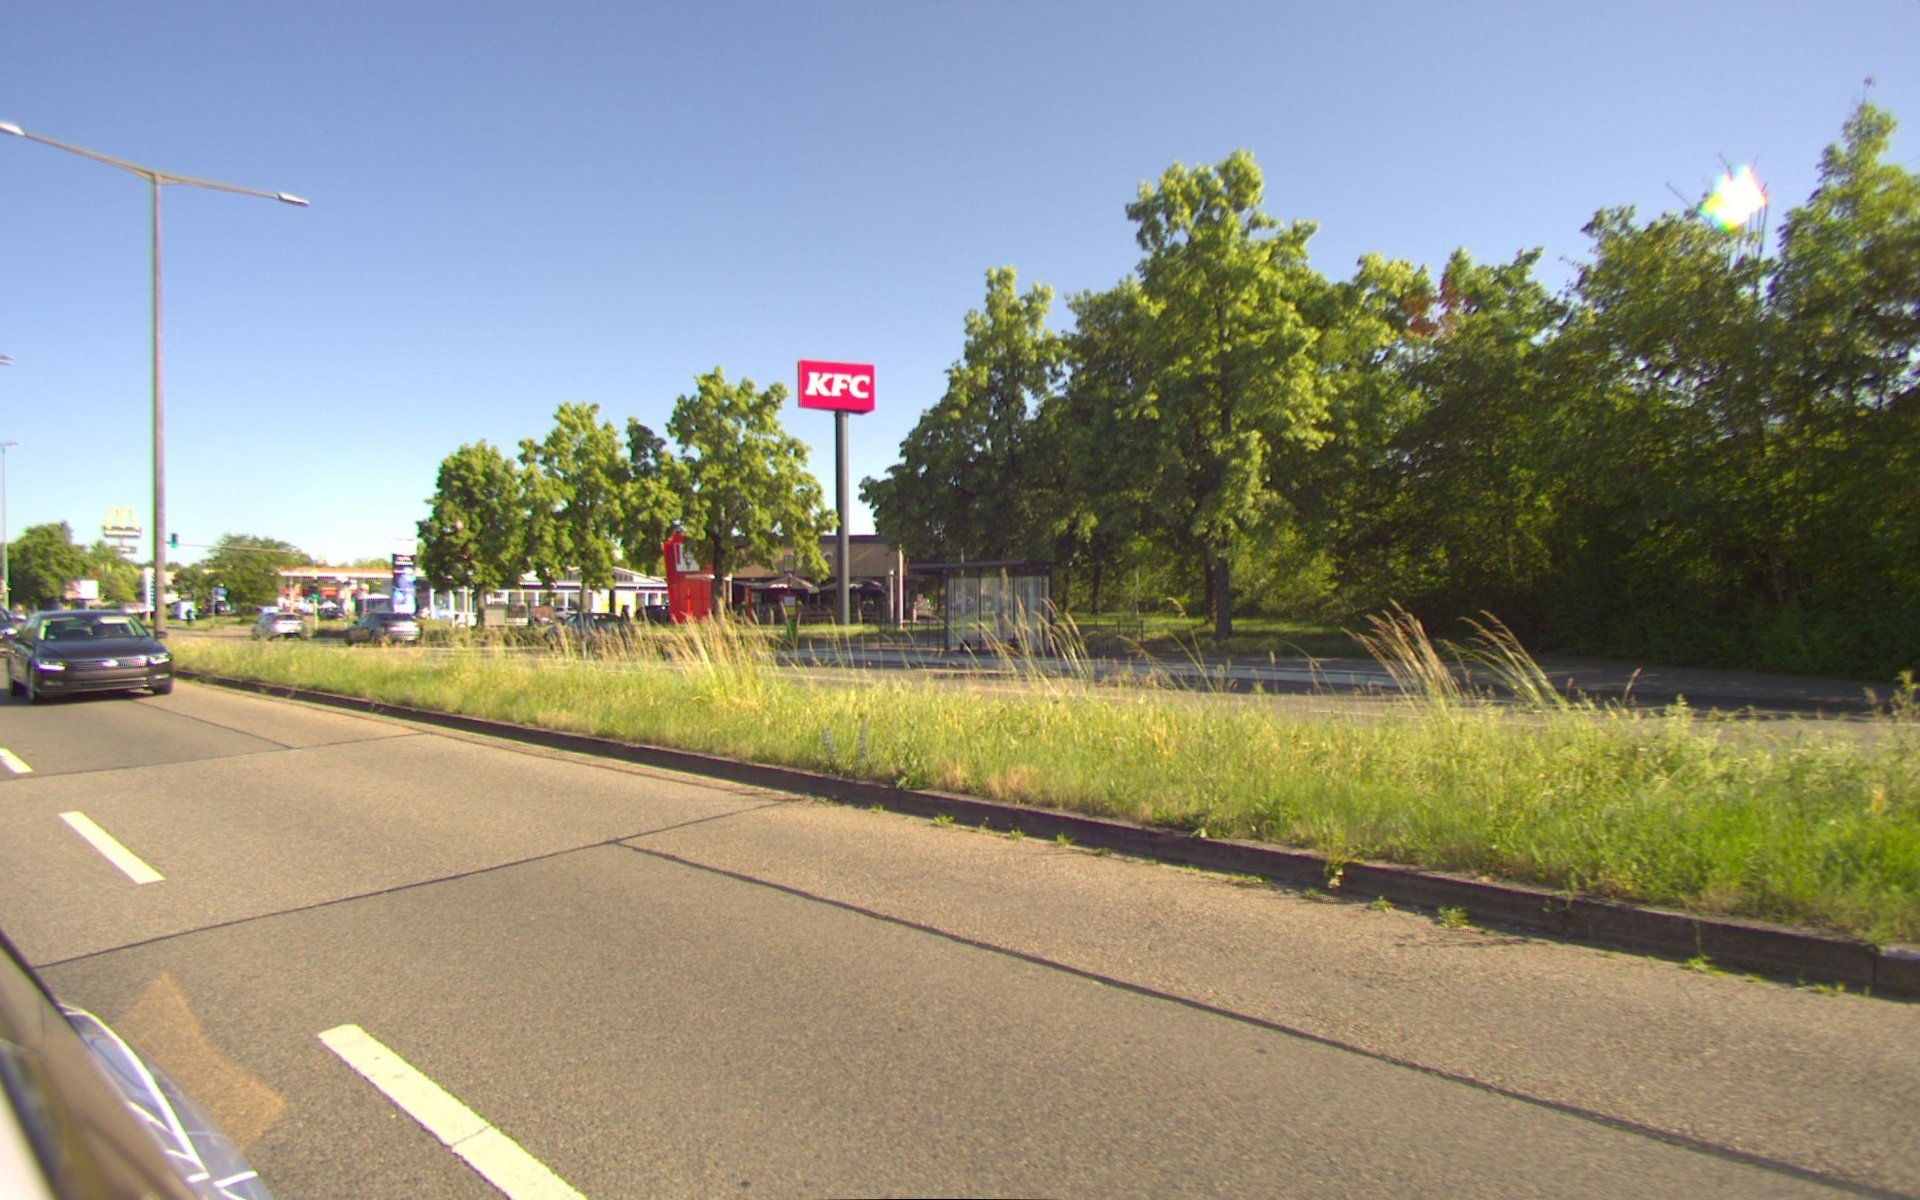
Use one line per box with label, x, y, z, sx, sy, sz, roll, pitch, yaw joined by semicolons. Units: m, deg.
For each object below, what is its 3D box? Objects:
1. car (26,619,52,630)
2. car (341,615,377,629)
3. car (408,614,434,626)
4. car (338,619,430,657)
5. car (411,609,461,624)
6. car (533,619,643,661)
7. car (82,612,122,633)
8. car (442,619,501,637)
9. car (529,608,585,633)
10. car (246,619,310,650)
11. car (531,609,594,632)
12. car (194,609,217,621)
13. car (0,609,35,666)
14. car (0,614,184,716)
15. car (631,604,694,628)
car;-117.332;3.136;128.885;4.621;1.387;1.973;-1;-1;41
car;-60.919;2.210;102.606;4.117;1.335;1.876;-1;-2;40
car;-74.373;2.772;139.588;4.117;1.603;1.876;-1;-1;41
car;-23.235;1.516;40.741;4.629;1.446;1.798;-1;-3;41
car;-53.331;1.705;103.050;1.901;1.443;4.063;-1;-2;41
car;-13.807;1.455;37.448;4.488;1.466;1.894;-1;-3;41
car;-71.966;1.892;84.910;4.175;1.697;1.972;-1;-2;42
car;-41.682;2.382;86.354;2.000;1.485;4.136;-1;-1;43
car;-32.296;1.630;81.166;3.778;1.864;1.847;-1;1;2
car;-34.337;1.736;50.910;4.110;1.462;1.624;-1;-3;41
car;-30.160;1.582;76.892;4.074;1.674;1.896;-1;-1;-1
car;-107.329;2.179;143.928;4.117;1.625;1.739;-1;-2;40
car;-31.312;1.190;32.422;4.694;1.696;1.973;-1;1;42
car;-14.738;0.999;17.105;4.264;1.464;1.824;-1;0;42
car;-22.261;1.186;75.874;4.182;1.674;1.896;-1;1;-1
